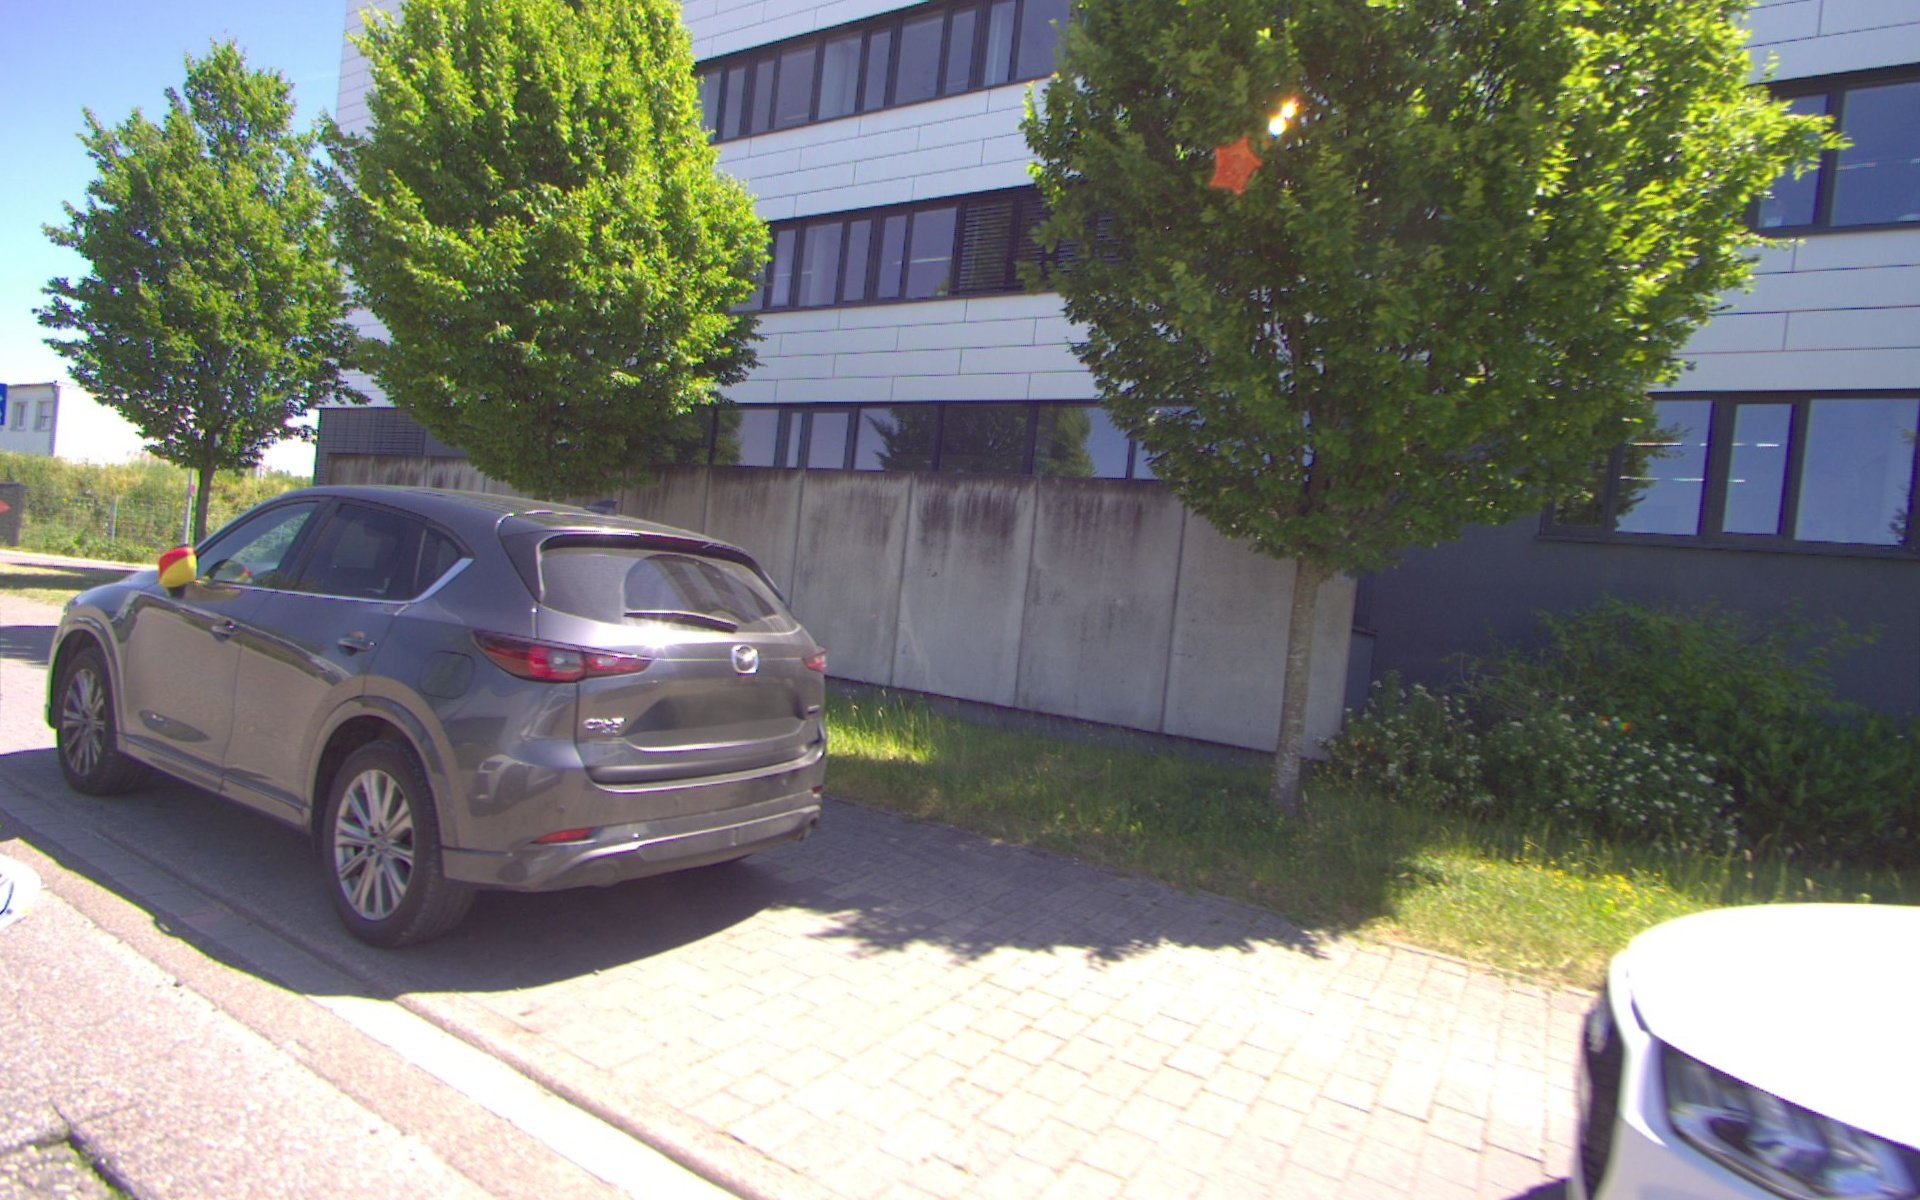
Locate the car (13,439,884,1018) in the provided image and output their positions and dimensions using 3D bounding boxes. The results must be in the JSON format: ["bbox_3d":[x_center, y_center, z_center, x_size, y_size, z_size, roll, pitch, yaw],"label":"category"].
[{"bbox_3d":[-2.677,0.244,4.901,4.291,1.685,1.758,7,2,32],"label":"car"}]

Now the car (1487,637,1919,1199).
[{"bbox_3d":[3.037,1.044,1.389,3.964,1.501,1.716,7,3,32],"label":"car"}]
